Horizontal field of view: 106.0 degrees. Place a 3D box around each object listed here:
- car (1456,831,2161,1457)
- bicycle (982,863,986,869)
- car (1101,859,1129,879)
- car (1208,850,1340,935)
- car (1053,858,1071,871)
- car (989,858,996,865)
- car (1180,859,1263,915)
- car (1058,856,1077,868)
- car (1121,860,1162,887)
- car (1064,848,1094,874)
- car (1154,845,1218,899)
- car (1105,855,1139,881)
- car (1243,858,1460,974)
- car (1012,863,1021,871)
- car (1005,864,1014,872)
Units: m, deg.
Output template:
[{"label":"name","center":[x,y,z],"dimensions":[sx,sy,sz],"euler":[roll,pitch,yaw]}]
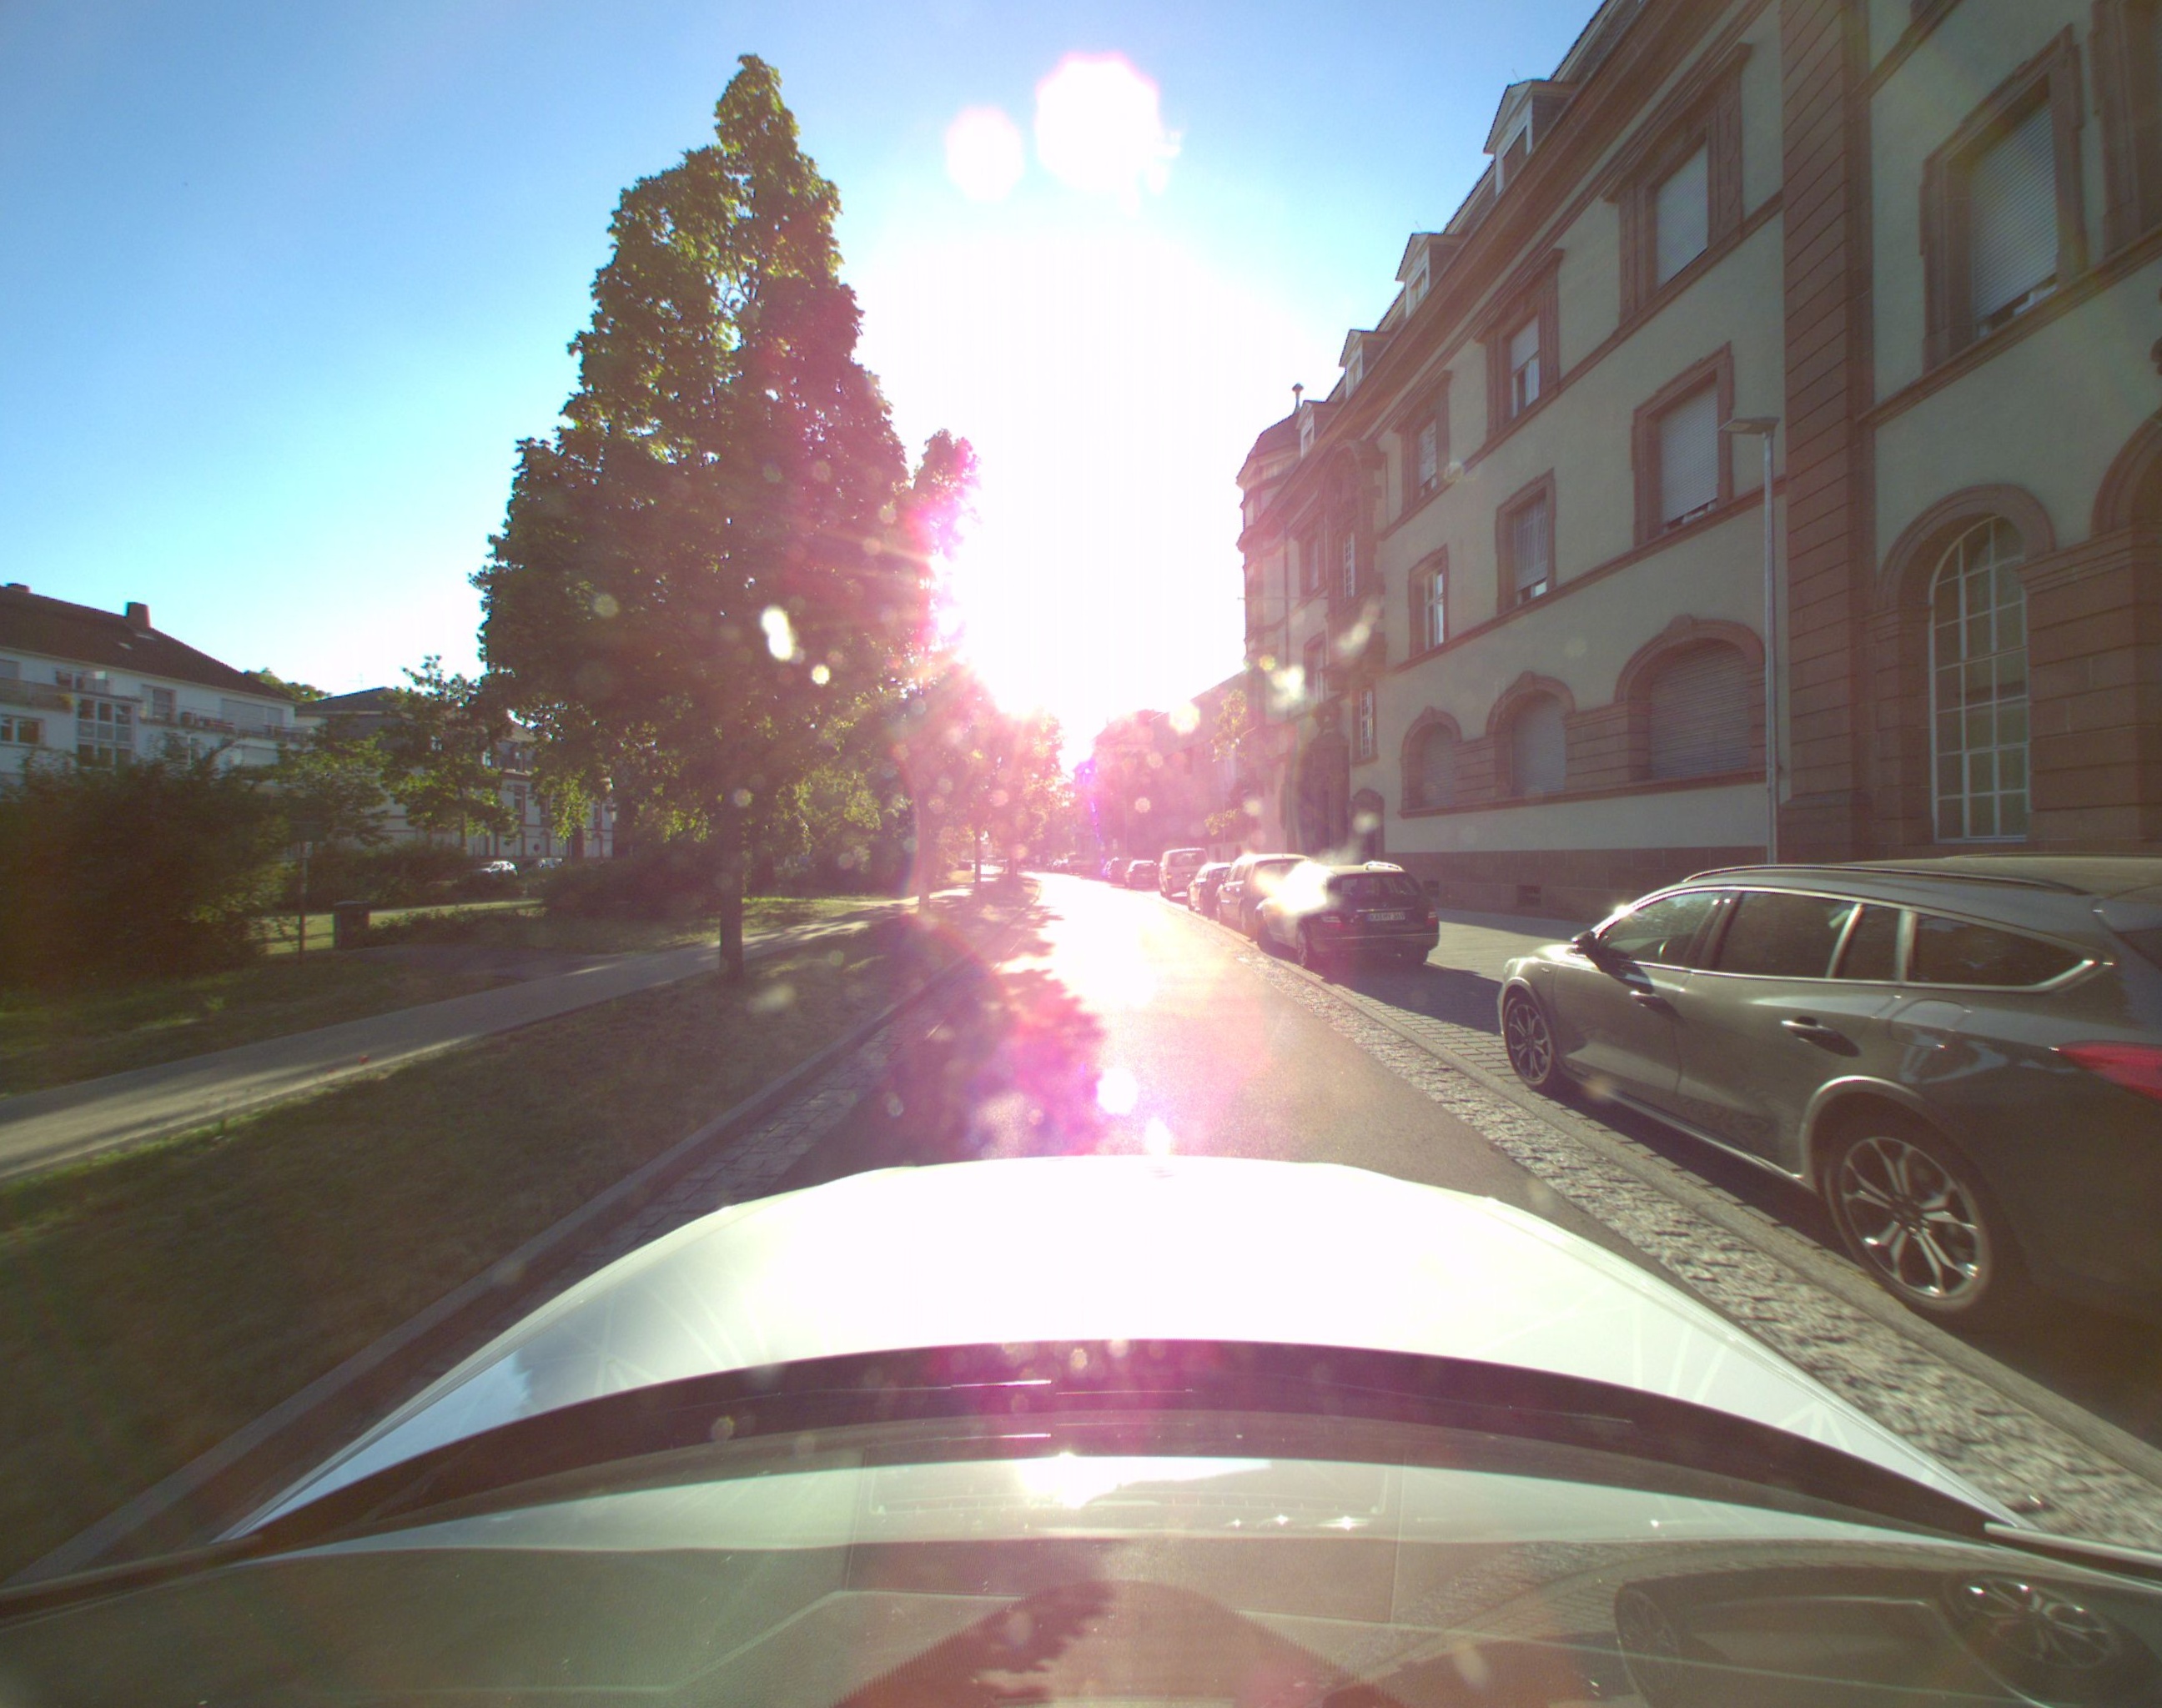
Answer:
[{"label":"car","center":[3.678,0.712,4.014],"dimensions":[1.760,1.530,4.577],"euler":[-2,-1,4]},{"label":"bicycle","center":[-21.404,2.676,179.288],"dimensions":[0.687,1.202,2.340],"euler":[0,3,-5]},{"label":"car","center":[2.545,1.133,62.426],"dimensions":[1.721,1.421,3.900],"euler":[-2,0,-4]},{"label":"car","center":[4.138,0.770,18.172],"dimensions":[1.811,1.602,4.189],"euler":[-2,0,-2]},{"label":"car","center":[-2.368,1.301,101.301],"dimensions":[1.690,1.440,4.091],"euler":[-1,0,-9]},{"label":"car","center":[-24.451,2.073,224.790],"dimensions":[1.792,1.999,3.989],"euler":[0,0,-8]},{"label":"car","center":[3.983,0.891,23.677],"dimensions":[1.673,1.403,4.199],"euler":[-2,0,0]},{"label":"car","center":[-1.634,0.946,96.394],"dimensions":[1.690,1.440,3.539],"euler":[-1,0,-9]},{"label":"car","center":[3.372,1.062,46.163],"dimensions":[1.744,1.466,4.471],"euler":[0,0,-4]},{"label":"car","center":[-0.258,0.757,85.415],"dimensions":[2.210,2.530,6.131],"euler":[-2,0,-8]},{"label":"car","center":[4.299,0.704,34.061],"dimensions":[1.987,1.966,4.849],"euler":[-4,-1,1]},{"label":"car","center":[2.792,0.960,56.559],"dimensions":[1.722,1.669,4.106],"euler":[-2,0,-6]},{"label":"car","center":[3.996,0.828,12.937],"dimensions":[1.866,1.436,4.520],"euler":[-2,0,-1]},{"label":"car","center":[-12.581,2.625,159.333],"dimensions":[1.791,1.510,3.993],"euler":[0,0,-5]},{"label":"car","center":[-15.124,2.998,172.920],"dimensions":[1.792,1.724,3.989],"euler":[0,0,-8]}]
